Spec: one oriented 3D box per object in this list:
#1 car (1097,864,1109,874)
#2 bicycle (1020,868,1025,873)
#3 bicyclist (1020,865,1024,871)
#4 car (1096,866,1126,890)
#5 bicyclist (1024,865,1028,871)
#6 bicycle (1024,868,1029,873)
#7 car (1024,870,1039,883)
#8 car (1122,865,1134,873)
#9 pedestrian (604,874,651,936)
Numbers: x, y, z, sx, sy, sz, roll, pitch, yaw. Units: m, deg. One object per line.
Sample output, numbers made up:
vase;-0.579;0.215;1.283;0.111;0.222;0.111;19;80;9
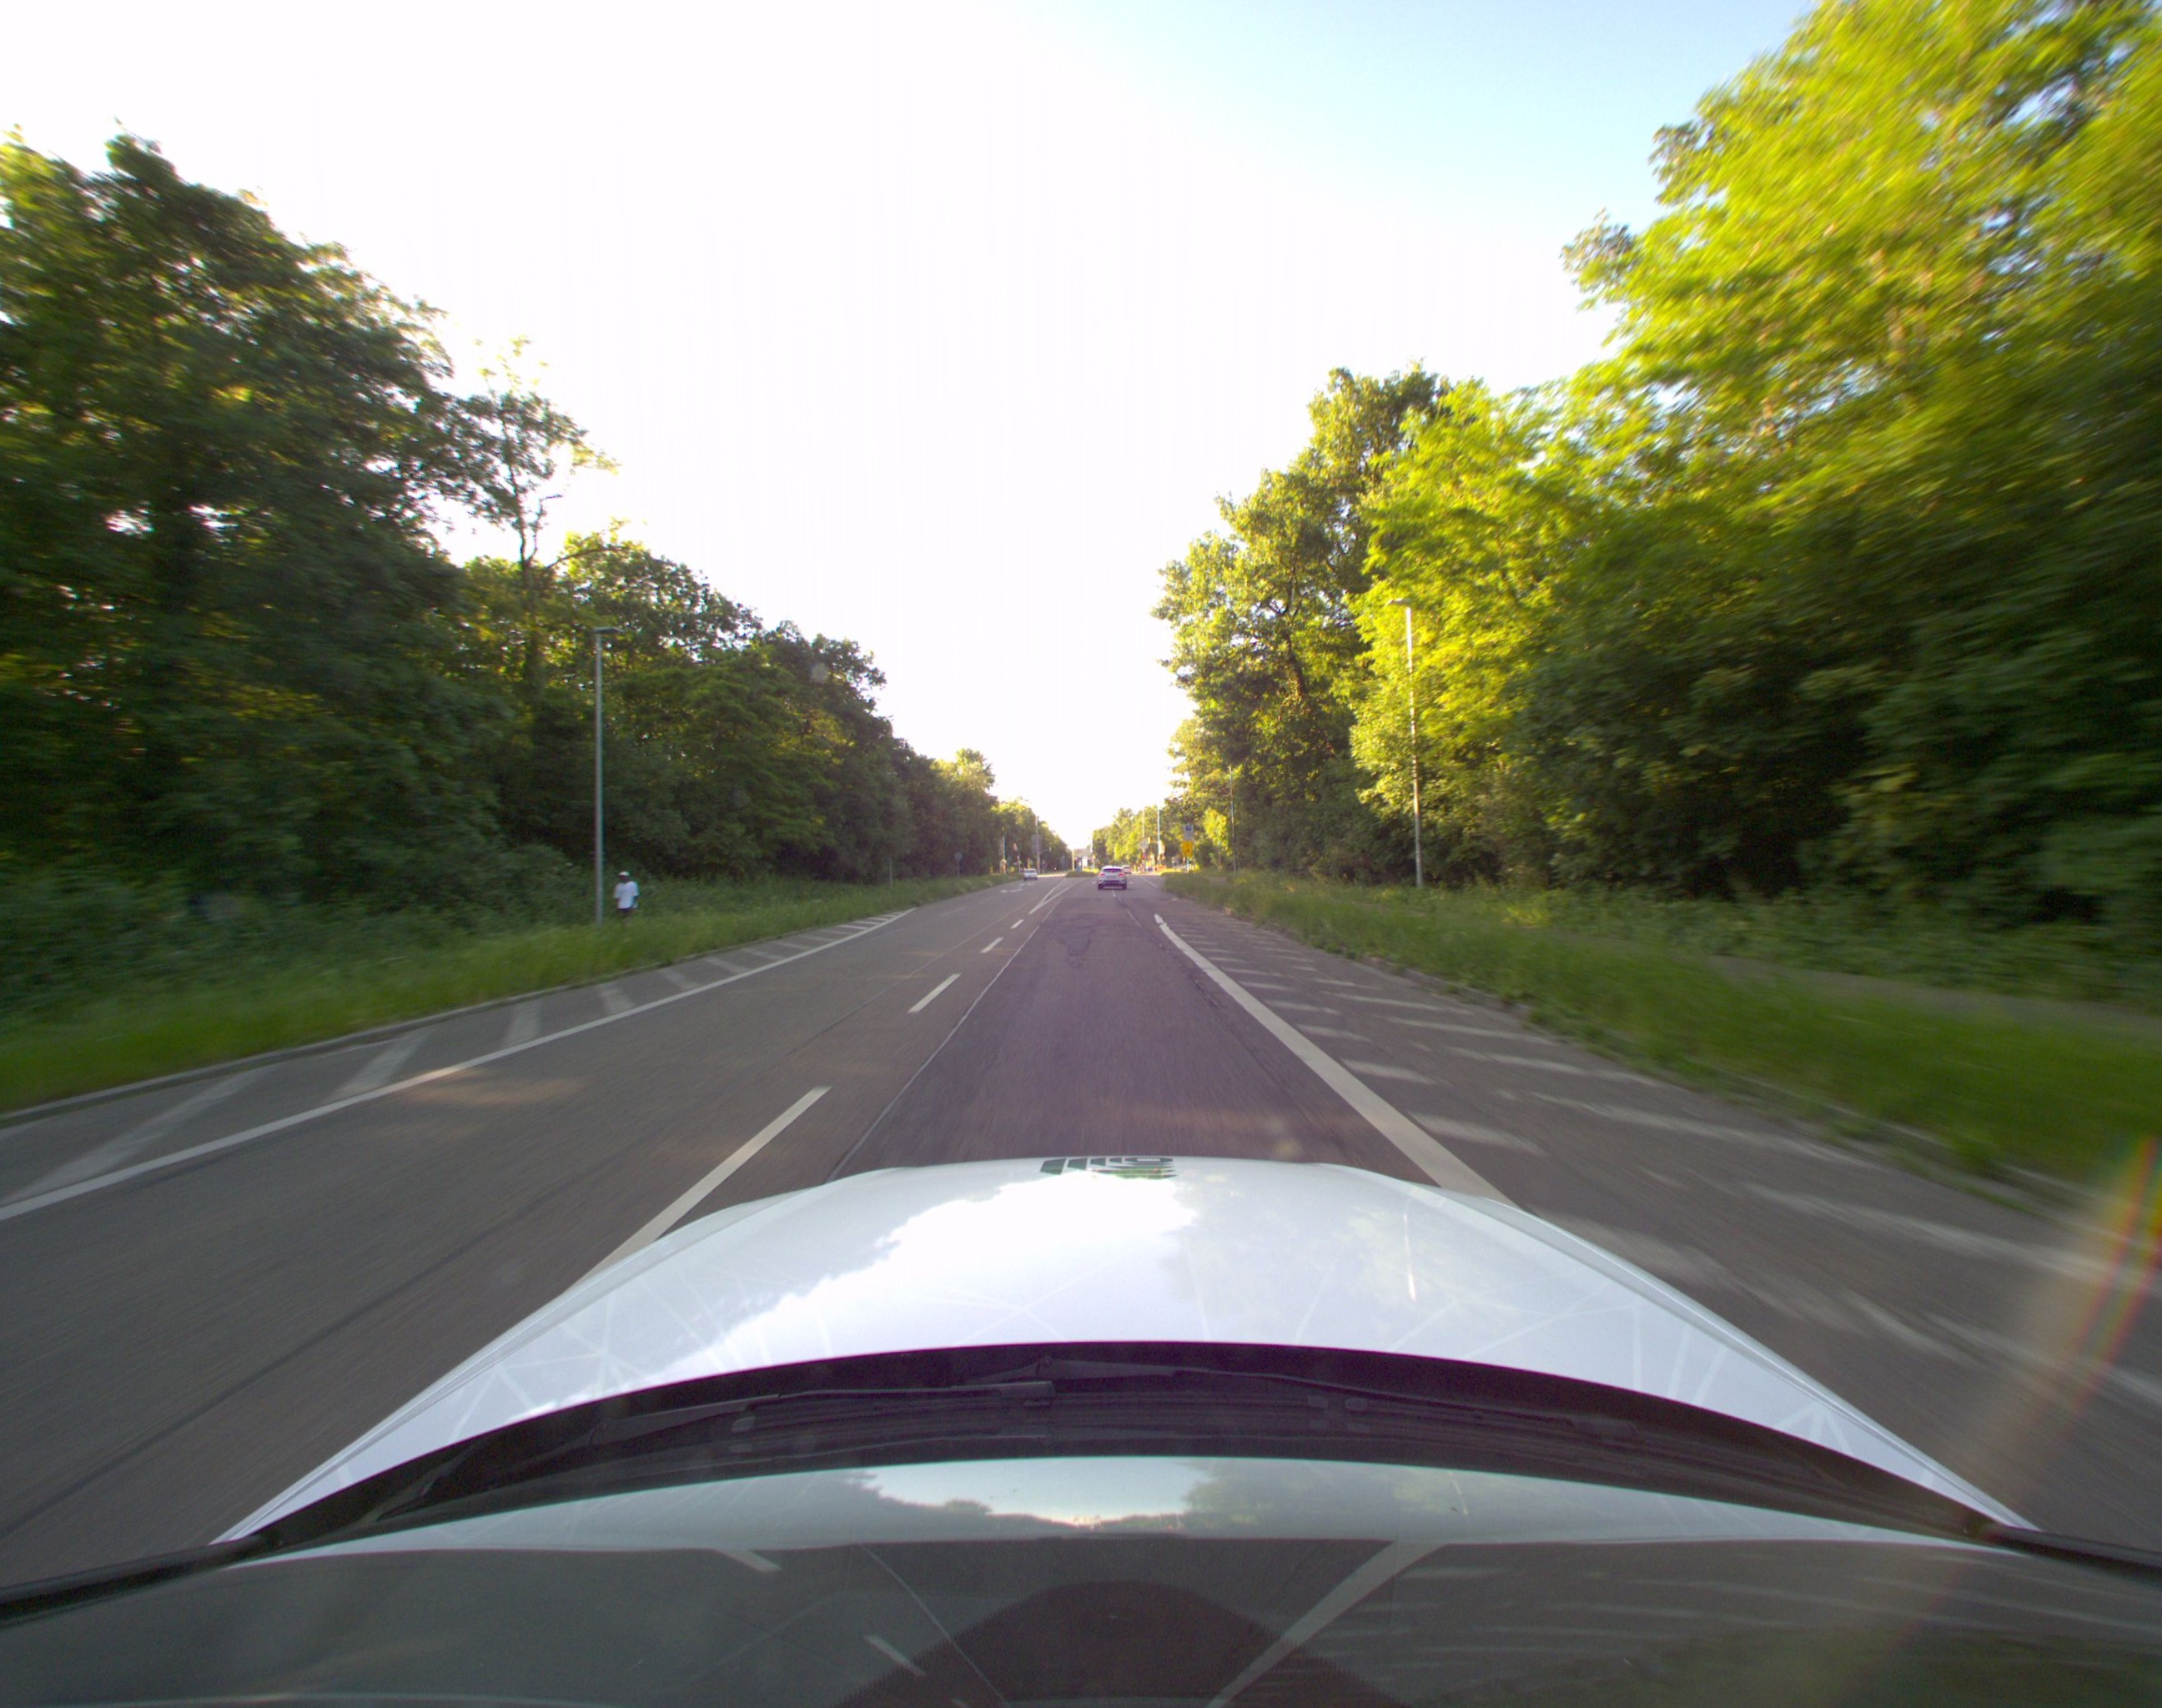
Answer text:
car;3.971;2.714;150.225;1.988;1.685;3.997;-2;-1;-2
bicycle;-12.762;3.594;177.198;0.711;0.914;1.914;-2;0;6
bicyclist;-12.781;3.002;177.208;0.711;1.192;0.992;-2;-1;5
car;1.997;1.545;53.620;1.856;1.444;4.002;-1;-1;2
bicyclist;-11.882;3.092;177.065;0.707;1.390;0.992;-2;-1;5
bicycle;-11.861;3.574;177.091;0.711;0.914;1.914;-2;-1;6
car;-6.388;2.869;105.251;1.824;1.455;4.475;-4;-1;-3
car;8.219;2.638;142.469;1.932;1.414;4.003;-2;-1;3
pedestrian;-11.956;1.333;21.480;0.708;1.565;0.826;-3;-1;3
